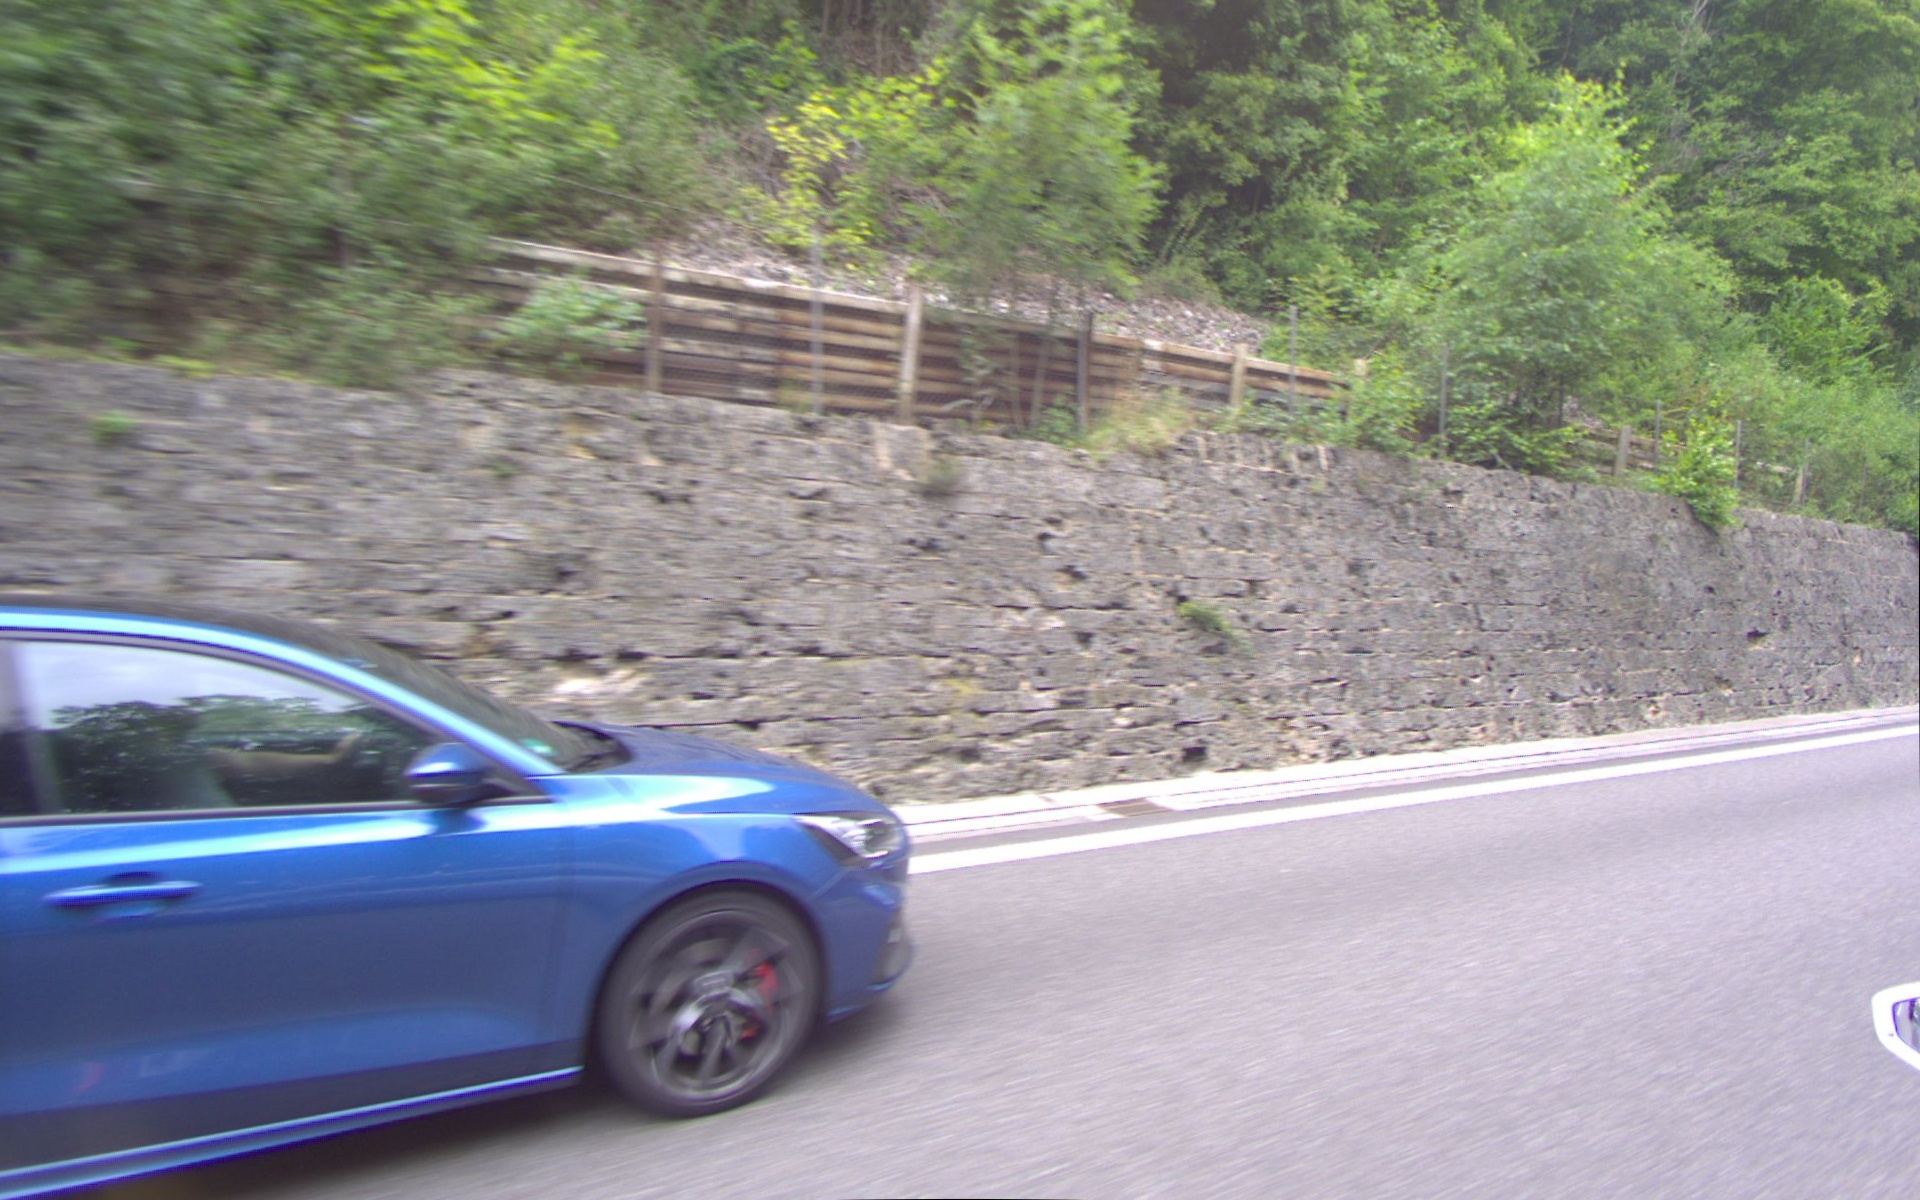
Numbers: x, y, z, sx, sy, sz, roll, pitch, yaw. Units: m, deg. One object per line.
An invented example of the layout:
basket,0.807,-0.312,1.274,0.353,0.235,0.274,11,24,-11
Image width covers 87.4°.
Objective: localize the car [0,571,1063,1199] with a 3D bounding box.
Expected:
car,-2.057,0.682,3.052,4.502,1.488,1.827,2,0,-30
